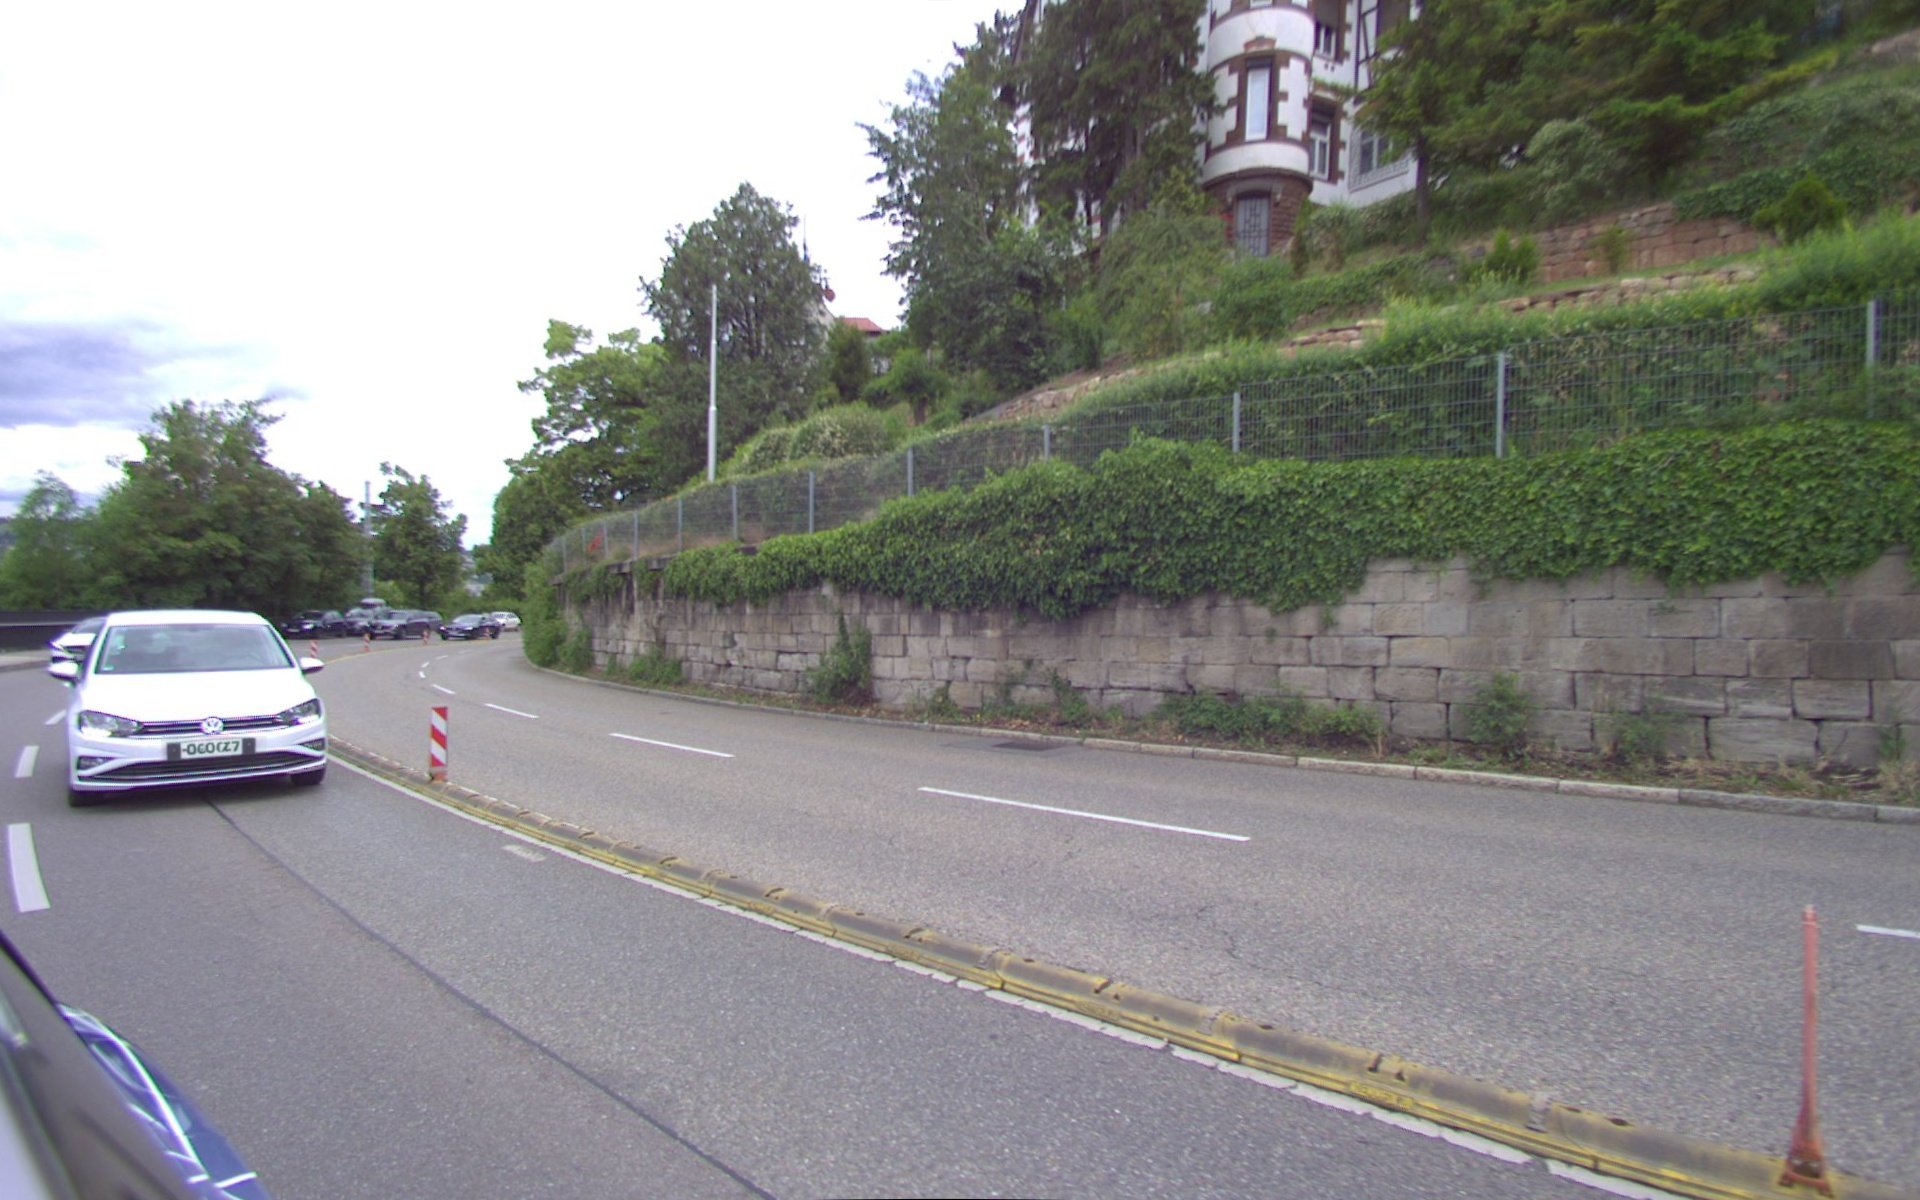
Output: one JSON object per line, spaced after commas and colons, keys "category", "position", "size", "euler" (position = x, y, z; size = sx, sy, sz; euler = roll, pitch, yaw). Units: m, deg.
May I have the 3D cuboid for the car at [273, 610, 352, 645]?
{"category": "car", "position": [-33.521, 1.478, 52.525], "size": [1.674, 1.533, 3.921], "euler": [7, -3, -5]}

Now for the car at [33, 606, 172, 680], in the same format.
{"category": "car", "position": [-22.922, 1.101, 27.238], "size": [1.965, 1.731, 4.013], "euler": [4, -1, -28]}

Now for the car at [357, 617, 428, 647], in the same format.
{"category": "car", "position": [-31.293, 1.736, 55.916], "size": [1.873, 1.505, 4.146], "euler": [0, 1, -5]}

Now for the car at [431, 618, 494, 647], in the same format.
{"category": "car", "position": [-28.704, 1.838, 58.539], "size": [1.896, 1.505, 4.146], "euler": [0, 1, -5]}

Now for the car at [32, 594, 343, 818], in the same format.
{"category": "car", "position": [-7.336, 0.816, 9.419], "size": [1.799, 1.592, 4.360], "euler": [3, -3, -43]}

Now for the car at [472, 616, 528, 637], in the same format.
{"category": "car", "position": [-34.410, 1.981, 75.796], "size": [1.913, 1.444, 3.987], "euler": [2, -1, 10]}

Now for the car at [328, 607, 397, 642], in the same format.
{"category": "car", "position": [-34.258, 1.410, 58.183], "size": [1.673, 1.845, 4.410], "euler": [3, -1, -6]}
